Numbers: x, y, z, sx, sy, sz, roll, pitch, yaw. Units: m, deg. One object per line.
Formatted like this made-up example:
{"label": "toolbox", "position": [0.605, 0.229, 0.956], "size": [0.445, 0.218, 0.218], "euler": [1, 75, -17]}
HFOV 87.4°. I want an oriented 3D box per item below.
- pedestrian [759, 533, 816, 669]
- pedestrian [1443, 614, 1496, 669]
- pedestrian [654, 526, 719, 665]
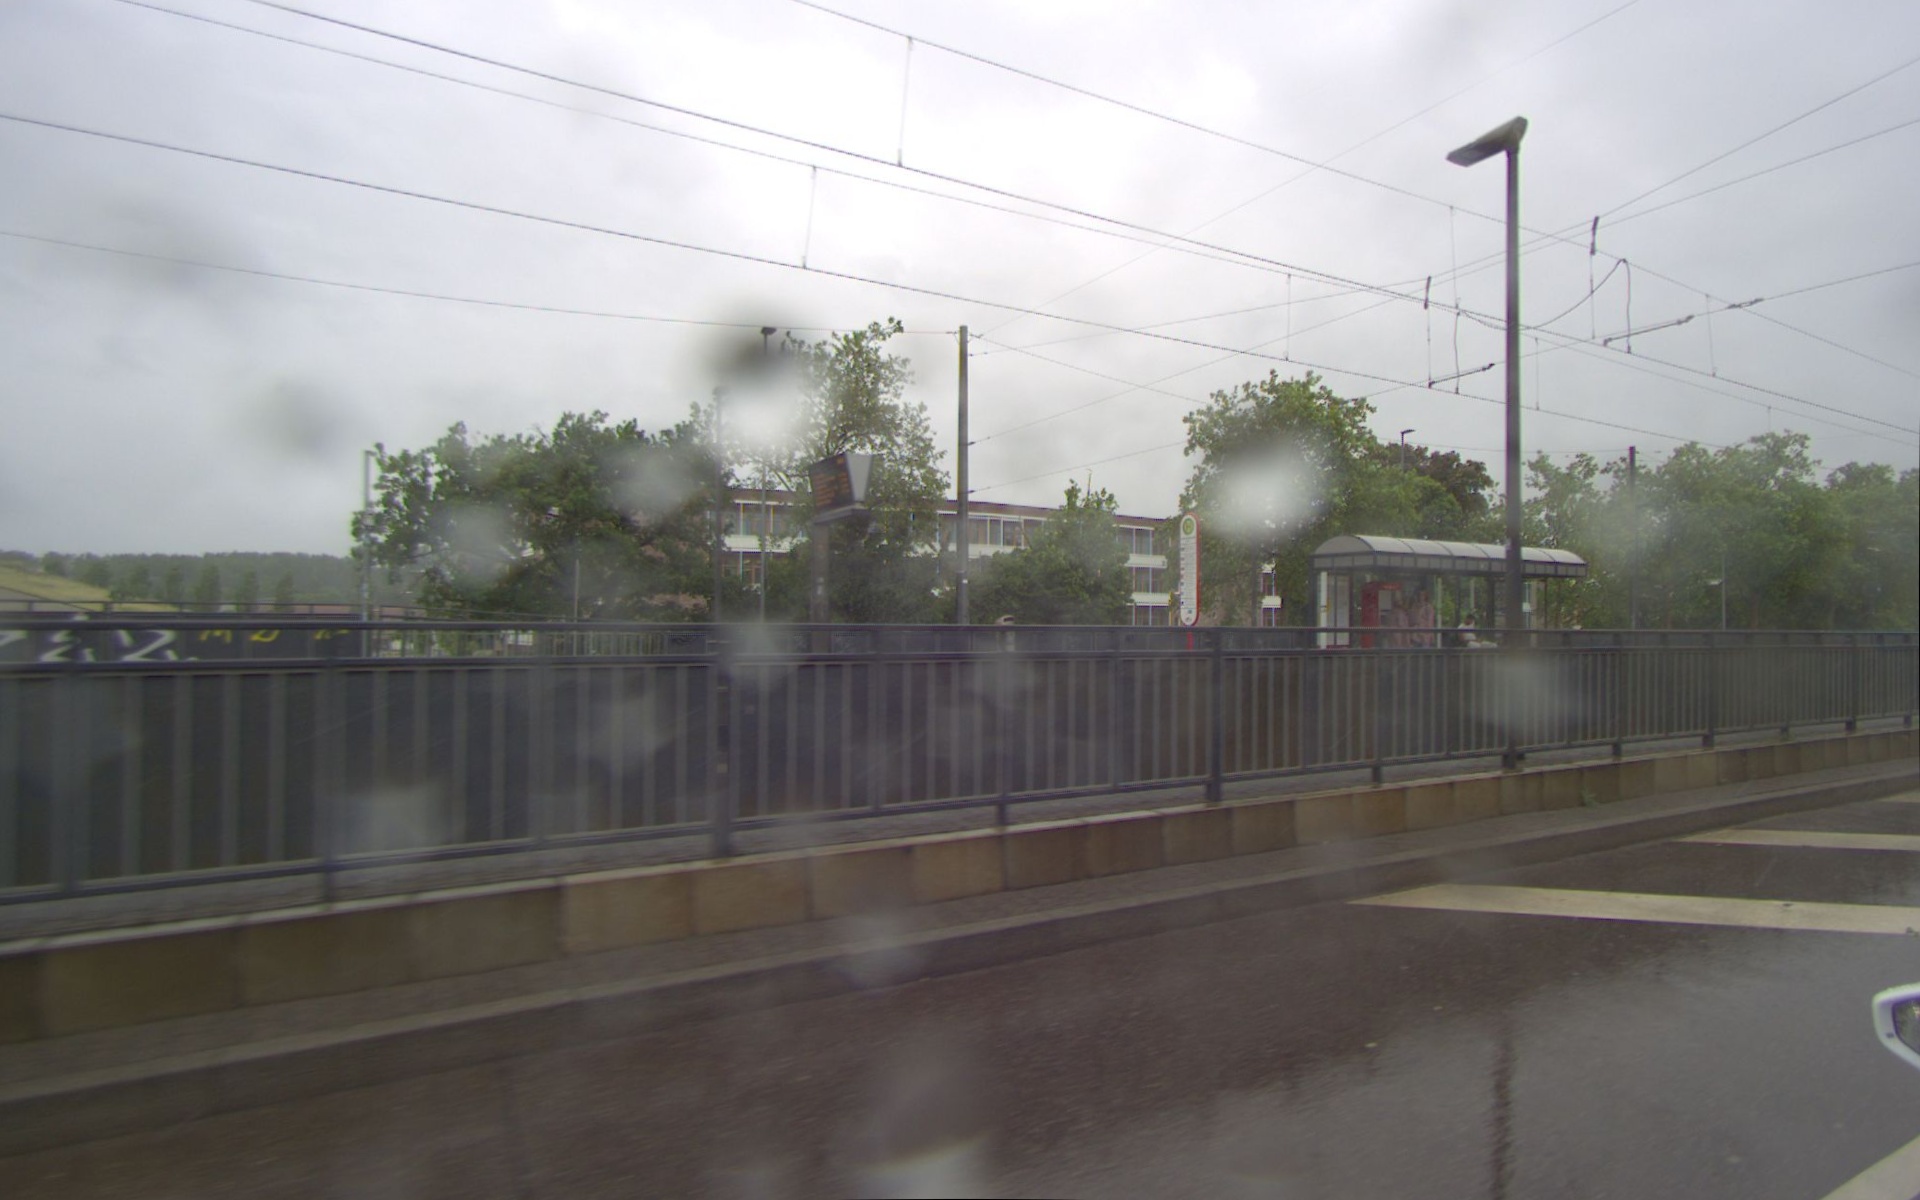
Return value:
{"label": "pedestrian", "position": [-5.298, 0.038, 30.877], "size": [1.490, 4.082, 1.172], "euler": [1, 0, -2]}
{"label": "pedestrian", "position": [12.878, 1.028, 25.395], "size": [0.847, 1.334, 0.827], "euler": [1, 1, -29]}
{"label": "pedestrian", "position": [-8.314, -0.110, 30.536], "size": [1.507, 4.082, 1.159], "euler": [1, 0, -41]}
